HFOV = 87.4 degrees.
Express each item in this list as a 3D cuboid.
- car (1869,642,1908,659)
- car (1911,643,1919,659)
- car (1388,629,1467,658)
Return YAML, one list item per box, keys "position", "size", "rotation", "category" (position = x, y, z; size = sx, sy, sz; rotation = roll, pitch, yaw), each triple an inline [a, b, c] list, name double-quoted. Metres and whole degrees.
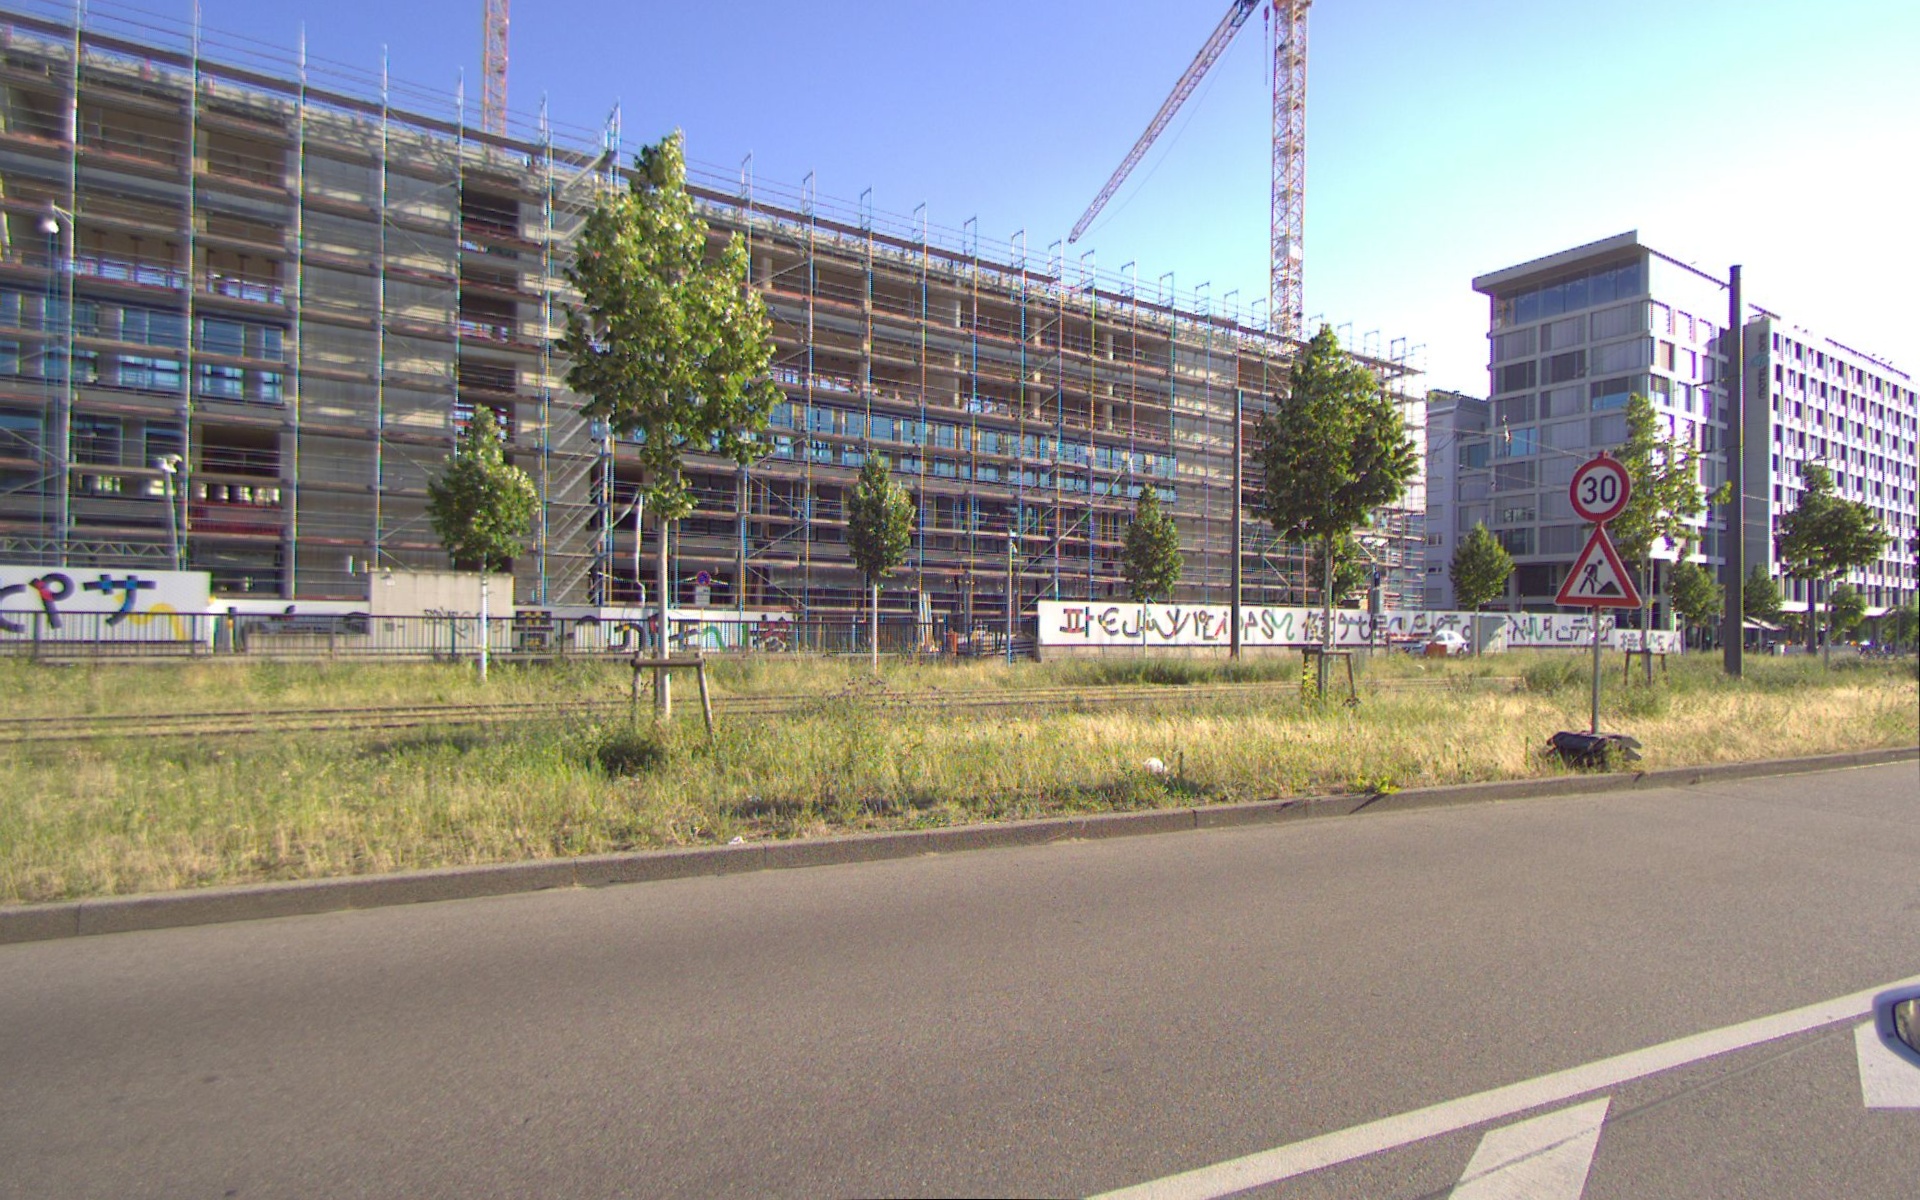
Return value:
- position: [84.020, 4.578, 90.898]
  size: [3.543, 1.461, 1.699]
  rotation: [2, 0, -32]
  category: "car"
- position: [87.497, 4.617, 90.589]
  size: [3.543, 1.461, 1.699]
  rotation: [2, 0, -32]
  category: "car"
- position: [23.179, 2.142, 49.802]
  size: [4.045, 1.327, 1.520]
  rotation: [1, -1, -30]
  category: "car"
